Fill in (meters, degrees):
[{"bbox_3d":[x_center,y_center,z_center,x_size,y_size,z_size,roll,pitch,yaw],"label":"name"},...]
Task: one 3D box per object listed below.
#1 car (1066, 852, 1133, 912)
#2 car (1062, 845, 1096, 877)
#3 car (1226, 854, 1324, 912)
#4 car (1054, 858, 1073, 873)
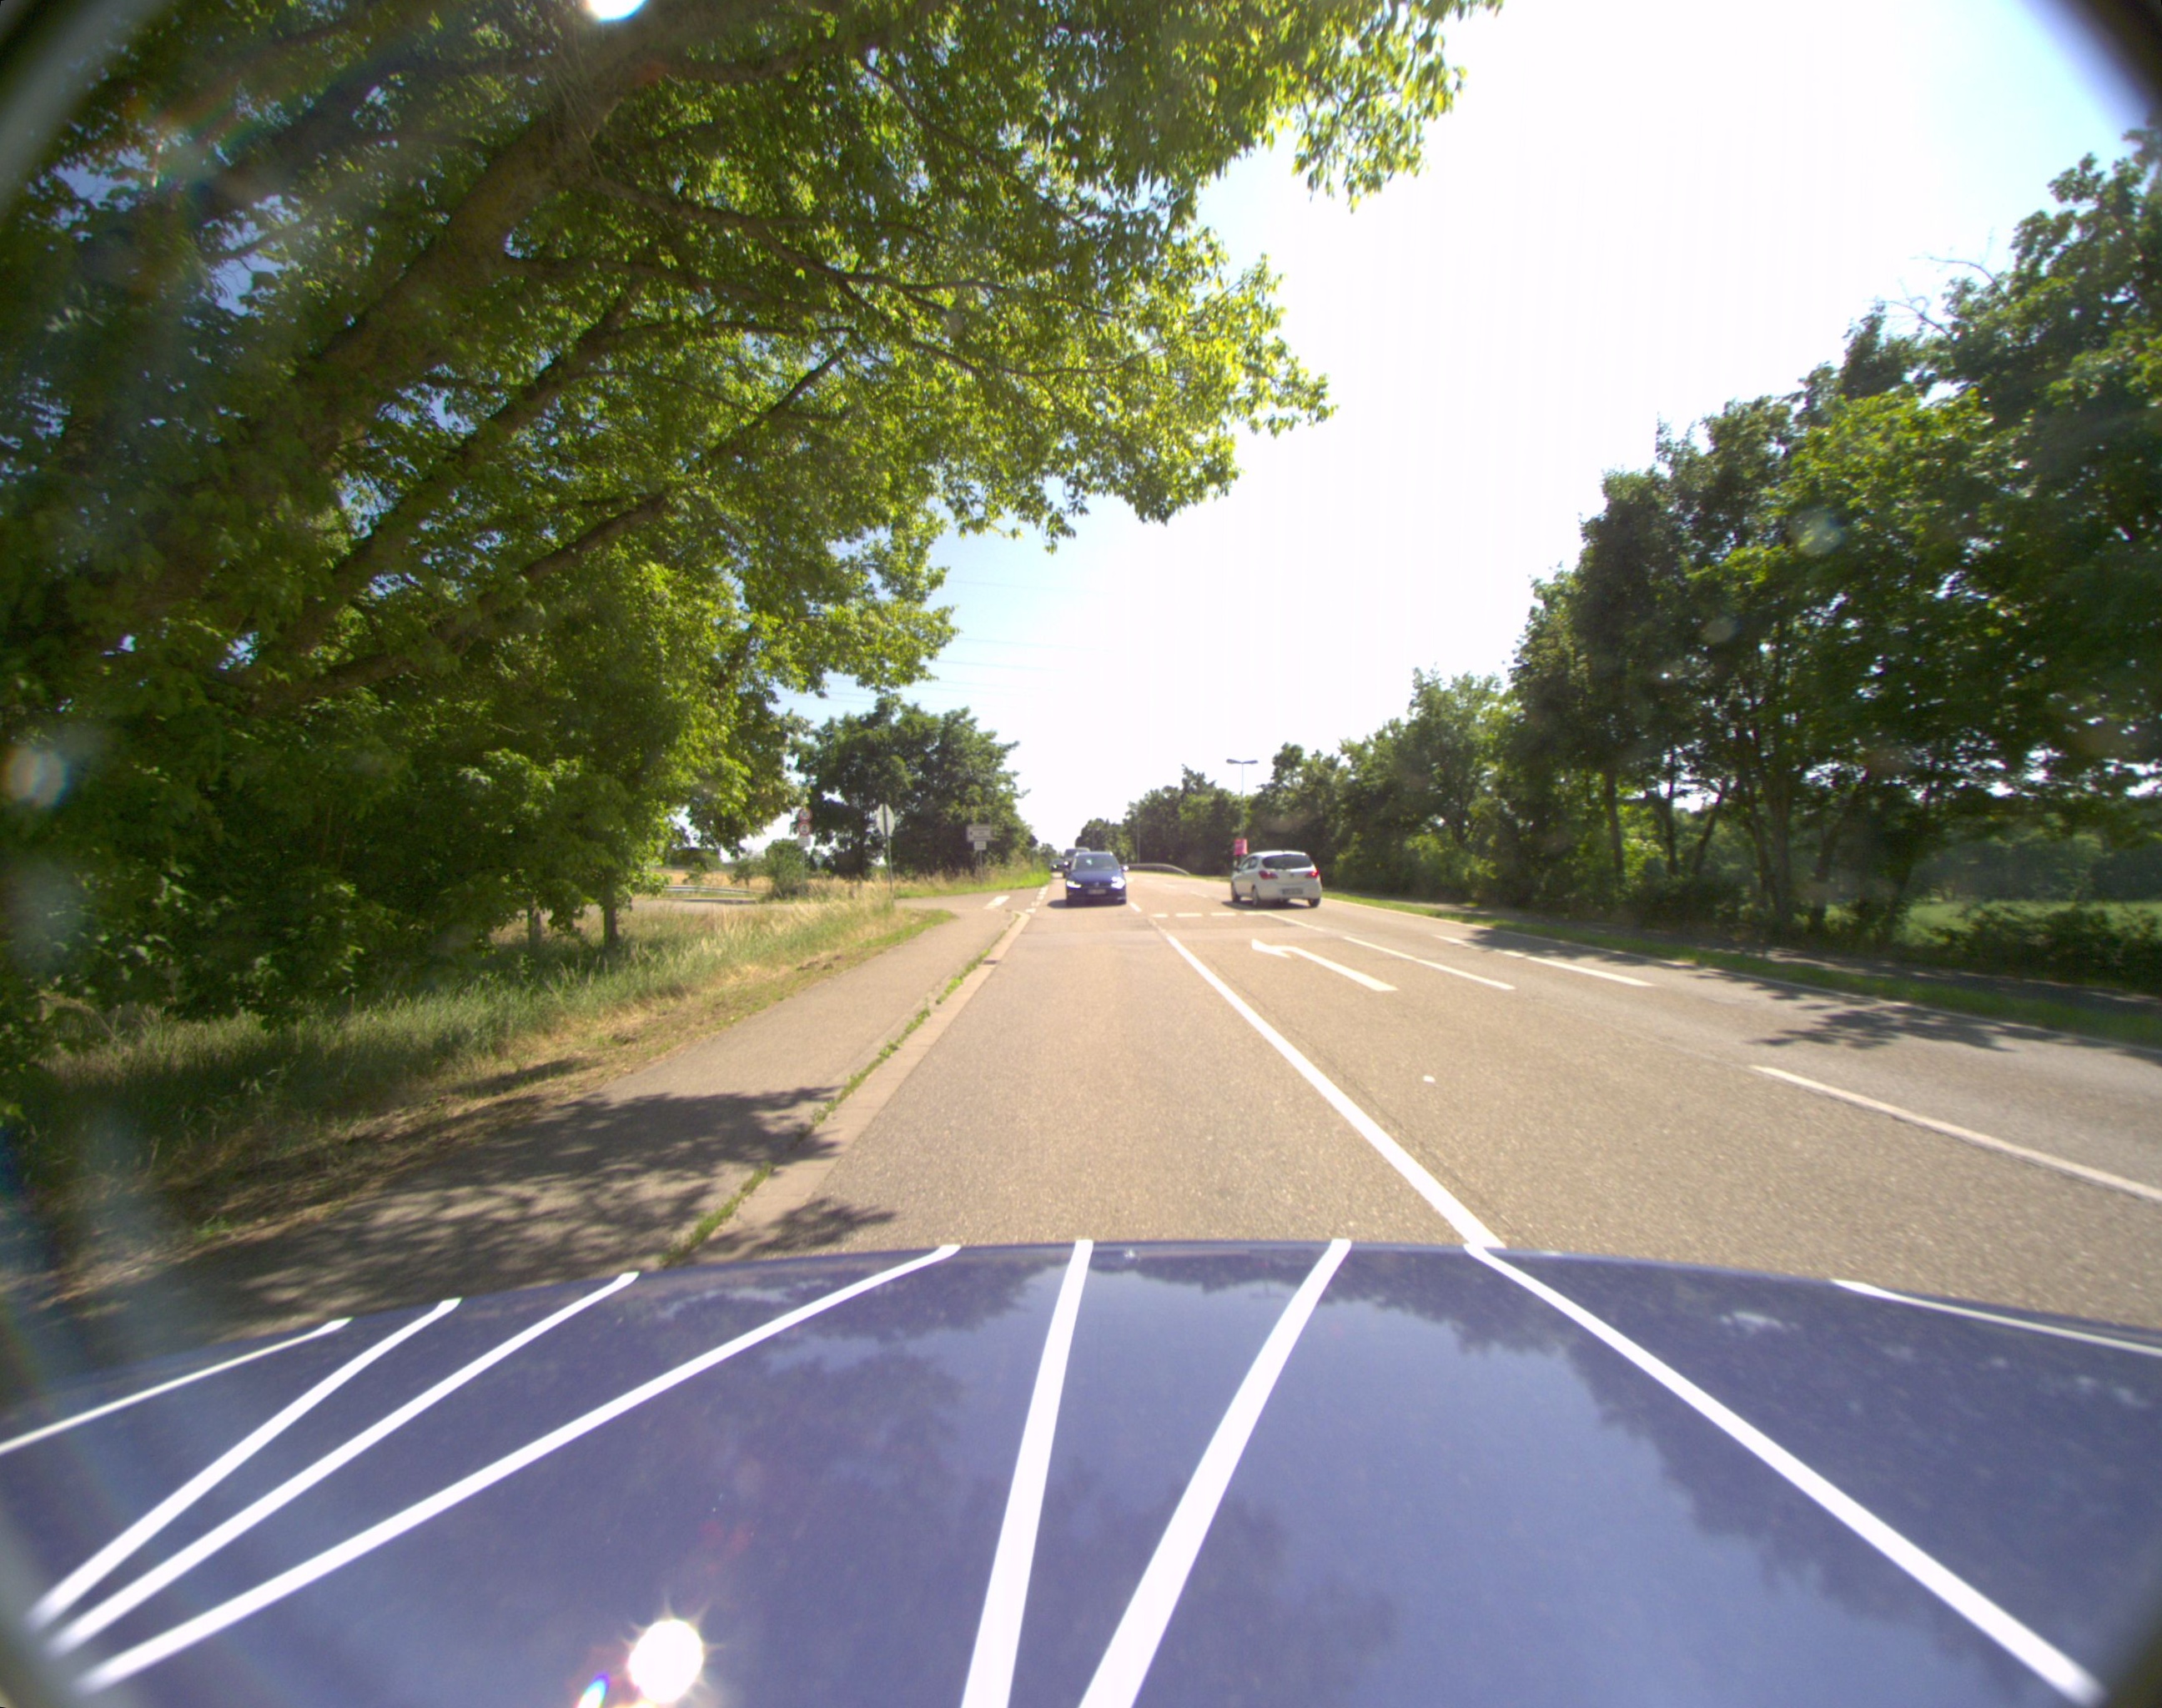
[{"bbox_3d":[0.458,0.750,22.870,1.765,1.520,4.421,-2,1,-1],"label":"car"},{"bbox_3d":[-0.197,0.467,49.535,1.765,1.953,4.260,-2,-1,-5],"label":"car"},{"bbox_3d":[5.295,0.744,21.212,1.653,1.425,3.896,-1,0,-1],"label":"car"},{"bbox_3d":[-2.077,1.290,87.948,1.765,1.530,3.682,-2,1,-7],"label":"car"}]
